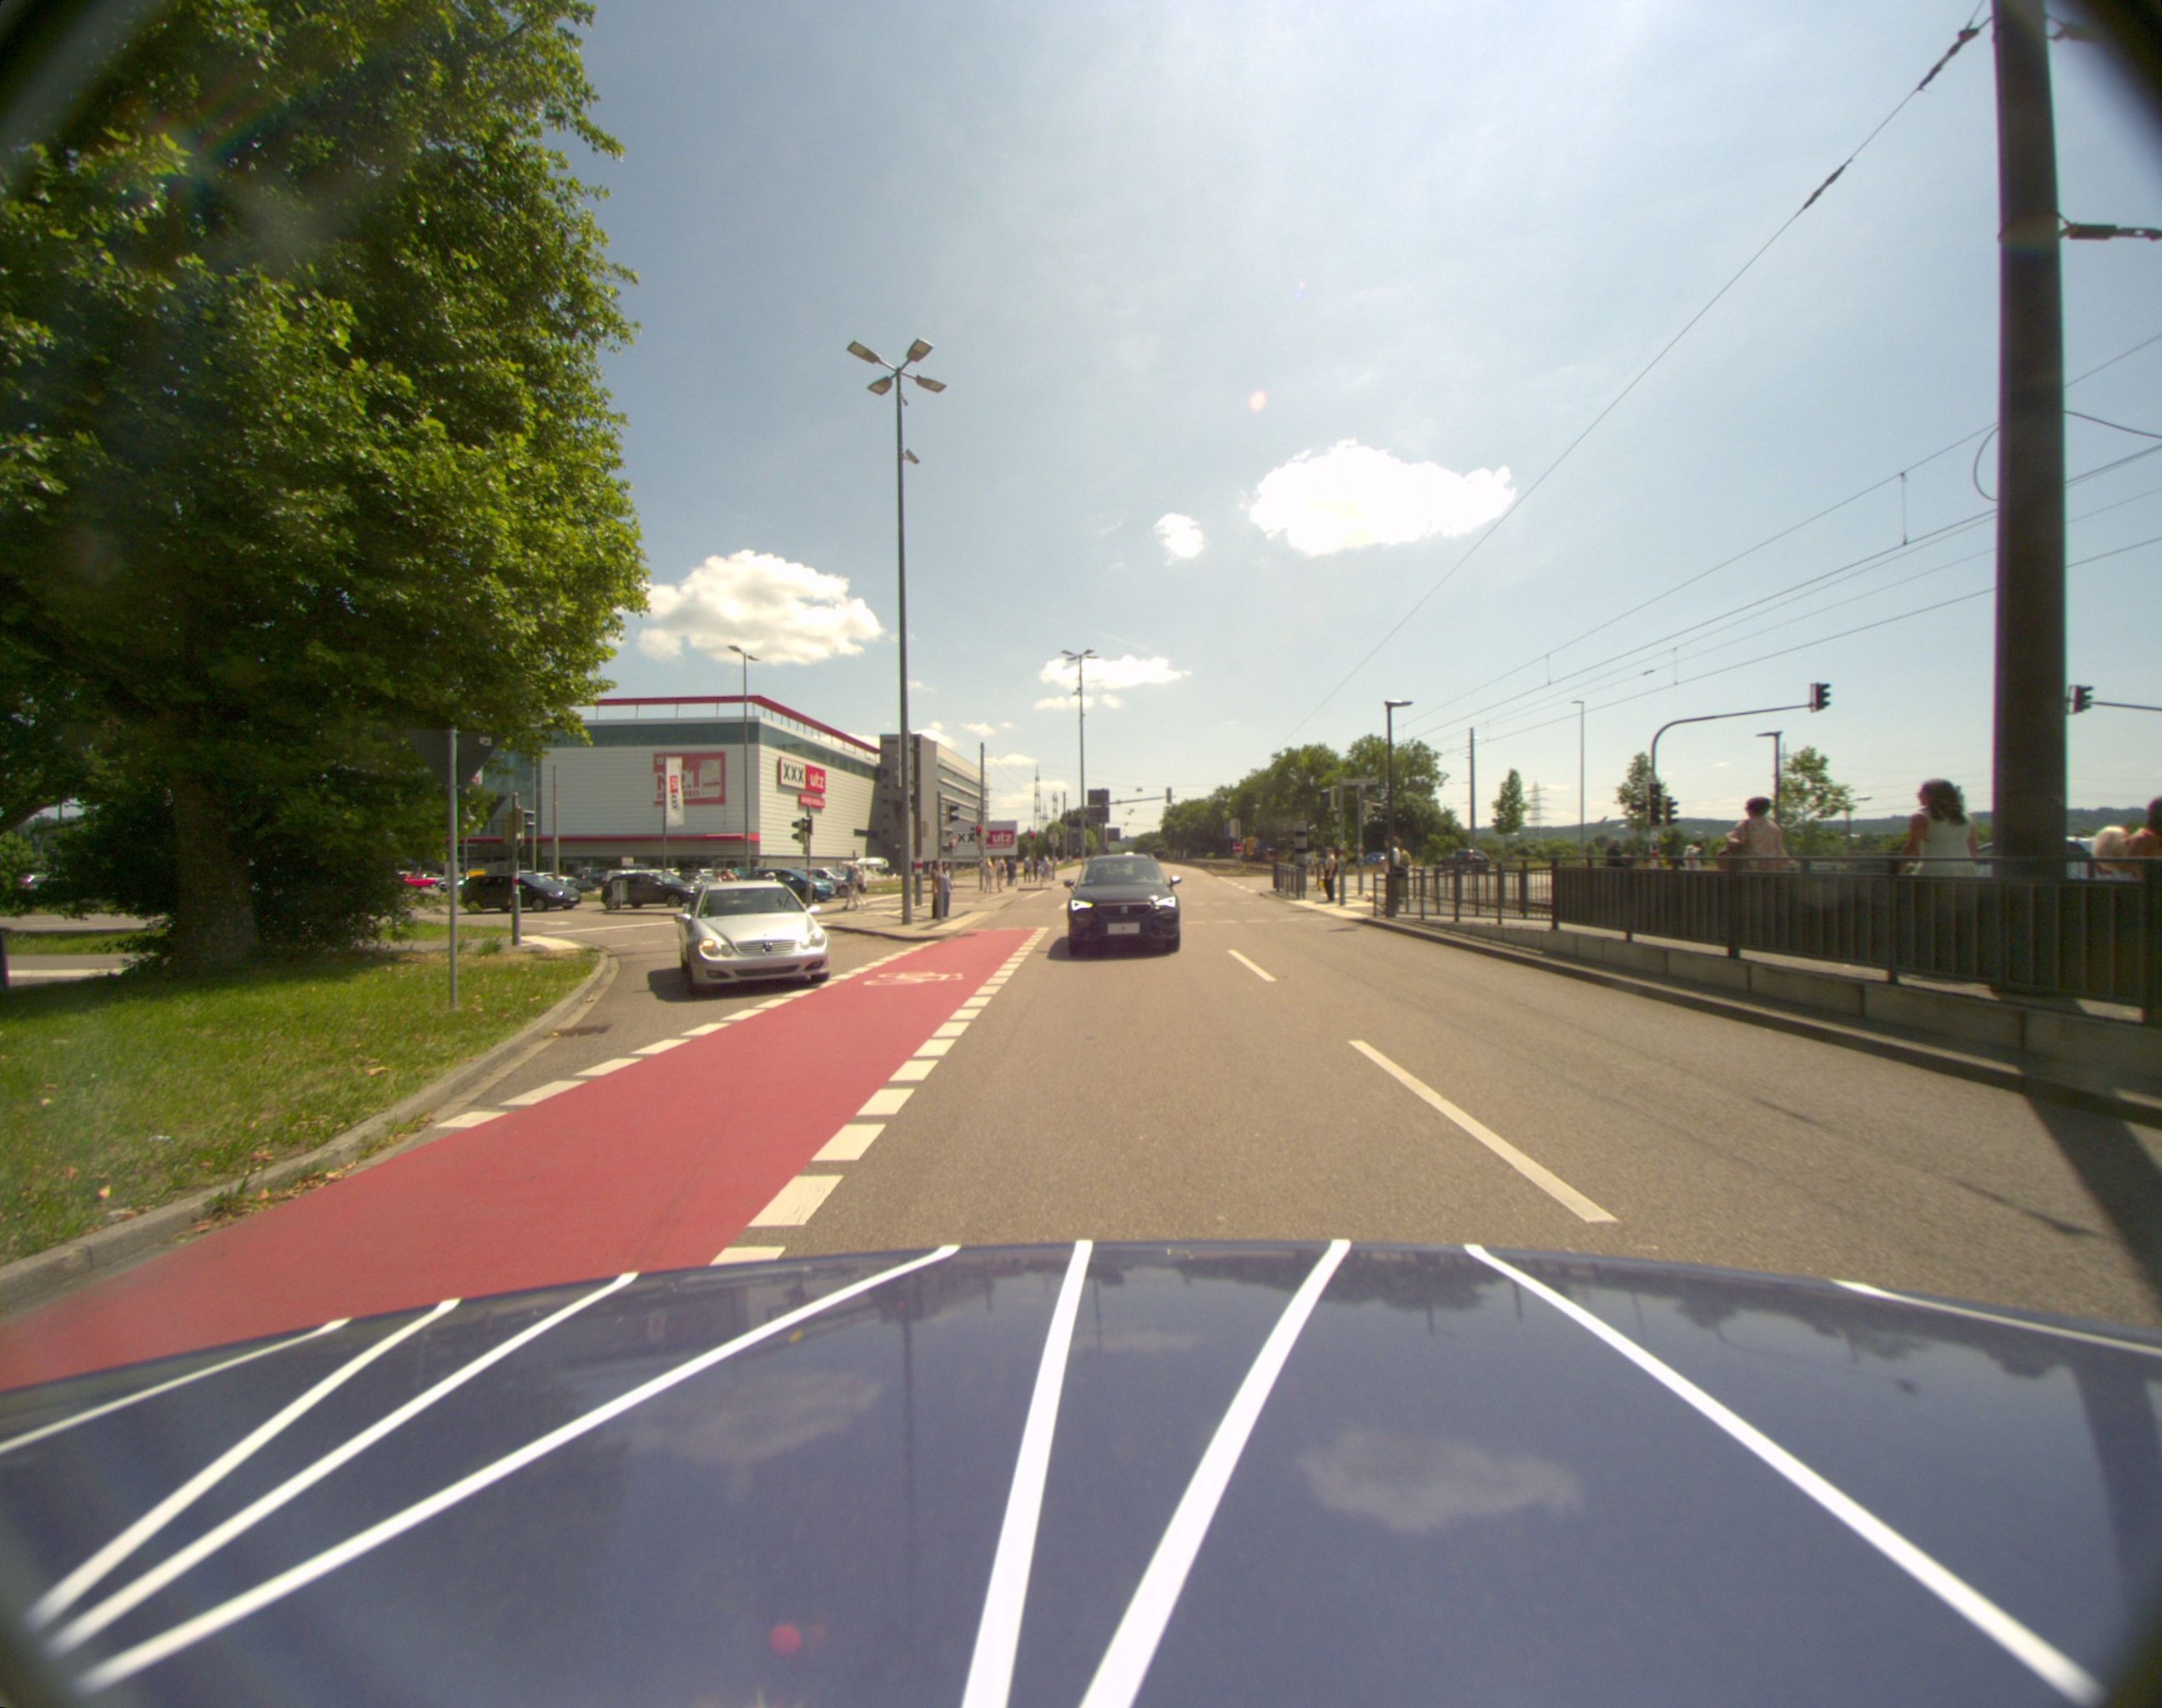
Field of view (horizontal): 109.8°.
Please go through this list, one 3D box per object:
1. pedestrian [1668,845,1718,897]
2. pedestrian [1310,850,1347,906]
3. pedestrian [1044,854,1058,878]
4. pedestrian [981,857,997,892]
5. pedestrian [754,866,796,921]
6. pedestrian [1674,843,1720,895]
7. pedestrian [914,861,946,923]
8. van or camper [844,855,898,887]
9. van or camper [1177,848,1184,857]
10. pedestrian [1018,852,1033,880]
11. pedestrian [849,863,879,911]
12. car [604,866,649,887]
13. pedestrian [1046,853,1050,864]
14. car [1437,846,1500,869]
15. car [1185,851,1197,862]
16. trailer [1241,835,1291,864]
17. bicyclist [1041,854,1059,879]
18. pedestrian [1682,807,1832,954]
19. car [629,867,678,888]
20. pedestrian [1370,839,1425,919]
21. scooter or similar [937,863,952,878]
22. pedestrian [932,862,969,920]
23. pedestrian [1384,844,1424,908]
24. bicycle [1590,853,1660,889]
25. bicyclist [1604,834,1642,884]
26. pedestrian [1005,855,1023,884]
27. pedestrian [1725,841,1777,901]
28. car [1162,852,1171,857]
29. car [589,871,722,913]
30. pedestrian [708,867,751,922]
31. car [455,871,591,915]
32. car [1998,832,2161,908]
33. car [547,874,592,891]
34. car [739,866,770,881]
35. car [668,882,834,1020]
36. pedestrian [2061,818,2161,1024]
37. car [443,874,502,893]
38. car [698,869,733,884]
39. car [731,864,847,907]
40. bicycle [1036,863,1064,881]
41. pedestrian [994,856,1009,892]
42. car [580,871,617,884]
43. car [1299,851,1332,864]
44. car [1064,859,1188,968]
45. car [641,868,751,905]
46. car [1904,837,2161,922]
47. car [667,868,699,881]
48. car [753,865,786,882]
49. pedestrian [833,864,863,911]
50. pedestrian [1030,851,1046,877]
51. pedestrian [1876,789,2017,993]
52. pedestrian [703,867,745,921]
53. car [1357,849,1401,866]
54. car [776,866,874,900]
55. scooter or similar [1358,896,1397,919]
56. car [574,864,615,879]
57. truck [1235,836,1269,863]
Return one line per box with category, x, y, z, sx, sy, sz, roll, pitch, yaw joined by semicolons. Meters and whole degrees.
pedestrian;19.423;0.523;24.125;0.959;1.600;0.764;-1;0;0
pedestrian;7.120;0.671;21.904;0.787;1.563;0.764;-2;1;-1
pedestrian;-1.886;0.750;47.449;0.591;1.467;0.805;-3;1;-16
pedestrian;-4.235;0.939;34.932;0.528;1.570;0.612;-2;1;6
pedestrian;-9.486;1.203;23.594;0.795;1.649;0.853;-1;1;30
pedestrian;18.607;0.453;22.958;0.763;1.539;0.764;-1;0;0
pedestrian;-4.187;1.031;21.134;0.725;1.673;0.625;-2;1;-1
van or camper;-21.528;1.709;78.337;2.715;2.929;7.615;-2;1;5
van or camper;30.217;-0.508;231.342;1.997;2.571;5.847;0;0;7
pedestrian;-3.683;0.791;50.469;0.805;1.854;0.798;-2;1;7
pedestrian;-7.802;1.172;27.311;0.606;1.628;0.864;-2;2;14
car;-48.371;2.326;80.975;1.998;2.002;4.001;-2;1;5
pedestrian;-5.207;0.692;121.438;0.518;1.783;0.634;-1;0;3
car;28.779;0.244;56.590;2.000;1.620;4.306;-1;0;-8
car;24.708;0.584;170.716;1.998;1.825;4.439;4;-7;2
trailer;26.694;-0.639;110.788;3.123;3.848;15.480;-1;0;-2
bicyclist;-2.103;0.831;51.094;0.818;1.691;0.797;-2;1;-41
pedestrian;7.770;0.291;8.781;0.892;1.595;0.924;-1;0;1
car;-45.695;2.447;81.369;1.998;2.002;4.966;-2;1;5
pedestrian;7.358;0.560;17.722;0.865;1.791;0.883;-2;1;-1
scooter or similar;-11.792;1.411;65.672;0.479;1.120;1.281;-2;4;31
pedestrian;-3.761;1.047;21.928;0.896;1.597;0.767;-2;1;-1
pedestrian;8.619;0.578;20.302;0.734;1.663;0.678;-2;1;-1
bicycle;18.060;0.541;25.241;1.978;1.094;0.763;-2;1;-13
bicyclist;17.974;0.174;25.222;0.666;1.605;0.732;-2;1;-14
pedestrian;-3.908;0.911;44.618;0.783;1.663;0.947;-2;1;9
pedestrian;18.968;0.475;21.518;0.763;1.662;0.764;-1;0;0
car;26.618;0.179;236.643;1.999;1.627;4.264;1;0;-2
car;-17.634;1.569;31.620;4.410;1.435;1.853;-2;2;3
pedestrian;-10.908;1.260;23.610;0.796;1.649;0.853;-1;1;19
car;-23.392;1.624;31.928;4.409;1.575;1.863;-2;2;6
car;24.319;0.325;17.356;1.998;1.619;4.001;-1;0;3
car;-51.475;2.855;76.515;1.853;1.537;3.999;-2;0;-1
car;-46.144;2.744;107.543;1.998;1.911;4.521;-2;0;5
car;-4.978;1.212;11.094;1.735;1.410;4.312;-3;1;-29
pedestrian;7.335;0.427;5.078;0.615;1.337;0.720;-2;1;0
car;-63.173;3.025;79.010;1.852;1.692;4.872;-2;0;7
car;-46.649;2.894;97.009;1.998;1.724;4.521;-2;0;5
car;-12.154;1.282;31.764;3.995;1.547;2.000;-2;1;5
bicycle;-2.071;1.197;51.122;0.833;1.155;1.874;-1;-1;-43
pedestrian;-3.678;0.914;35.271;0.528;1.656;0.640;-2;1;6
car;-58.764;2.855;92.654;1.692;1.302;4.001;-2;0;4
car;26.839;0.407;87.104;2.000;1.454;4.276;-1;0;-6
car;0.755;0.925;13.520;1.819;1.583;4.001;-2;-1;2
car;-17.786;1.505;35.182;4.227;1.390;1.804;-3;2;9
car;21.268;0.485;16.767;1.998;1.619;4.001;-2;0;3
car;-56.175;2.836;107.363;1.998;1.682;4.520;-2;0;3
car;-39.848;2.472;97.161;1.998;1.883;4.521;-2;0;5
pedestrian;-8.408;1.196;27.405;0.603;1.628;0.864;-2;2;14
pedestrian;-2.898;0.667;50.692;0.807;1.749;0.796;-2;1;-20
pedestrian;6.989;0.287;6.159;0.498;1.568;0.557;-1;0;1
pedestrian;-11.450;1.275;24.382;0.796;1.649;0.853;-1;1;19
car;27.212;0.299;69.573;1.999;1.436;4.347;-1;0;-5
car;-11.721;1.318;34.945;3.833;1.389;1.804;-1;0;1
scooter or similar;6.855;1.235;17.574;0.728;0.503;0.457;-1;0;-1
car;-62.223;2.173;97.210;1.998;1.724;4.521;-2;0;5
truck;26.481;-0.708;117.961;3.134;4.015;7.473;-2;0;-3
